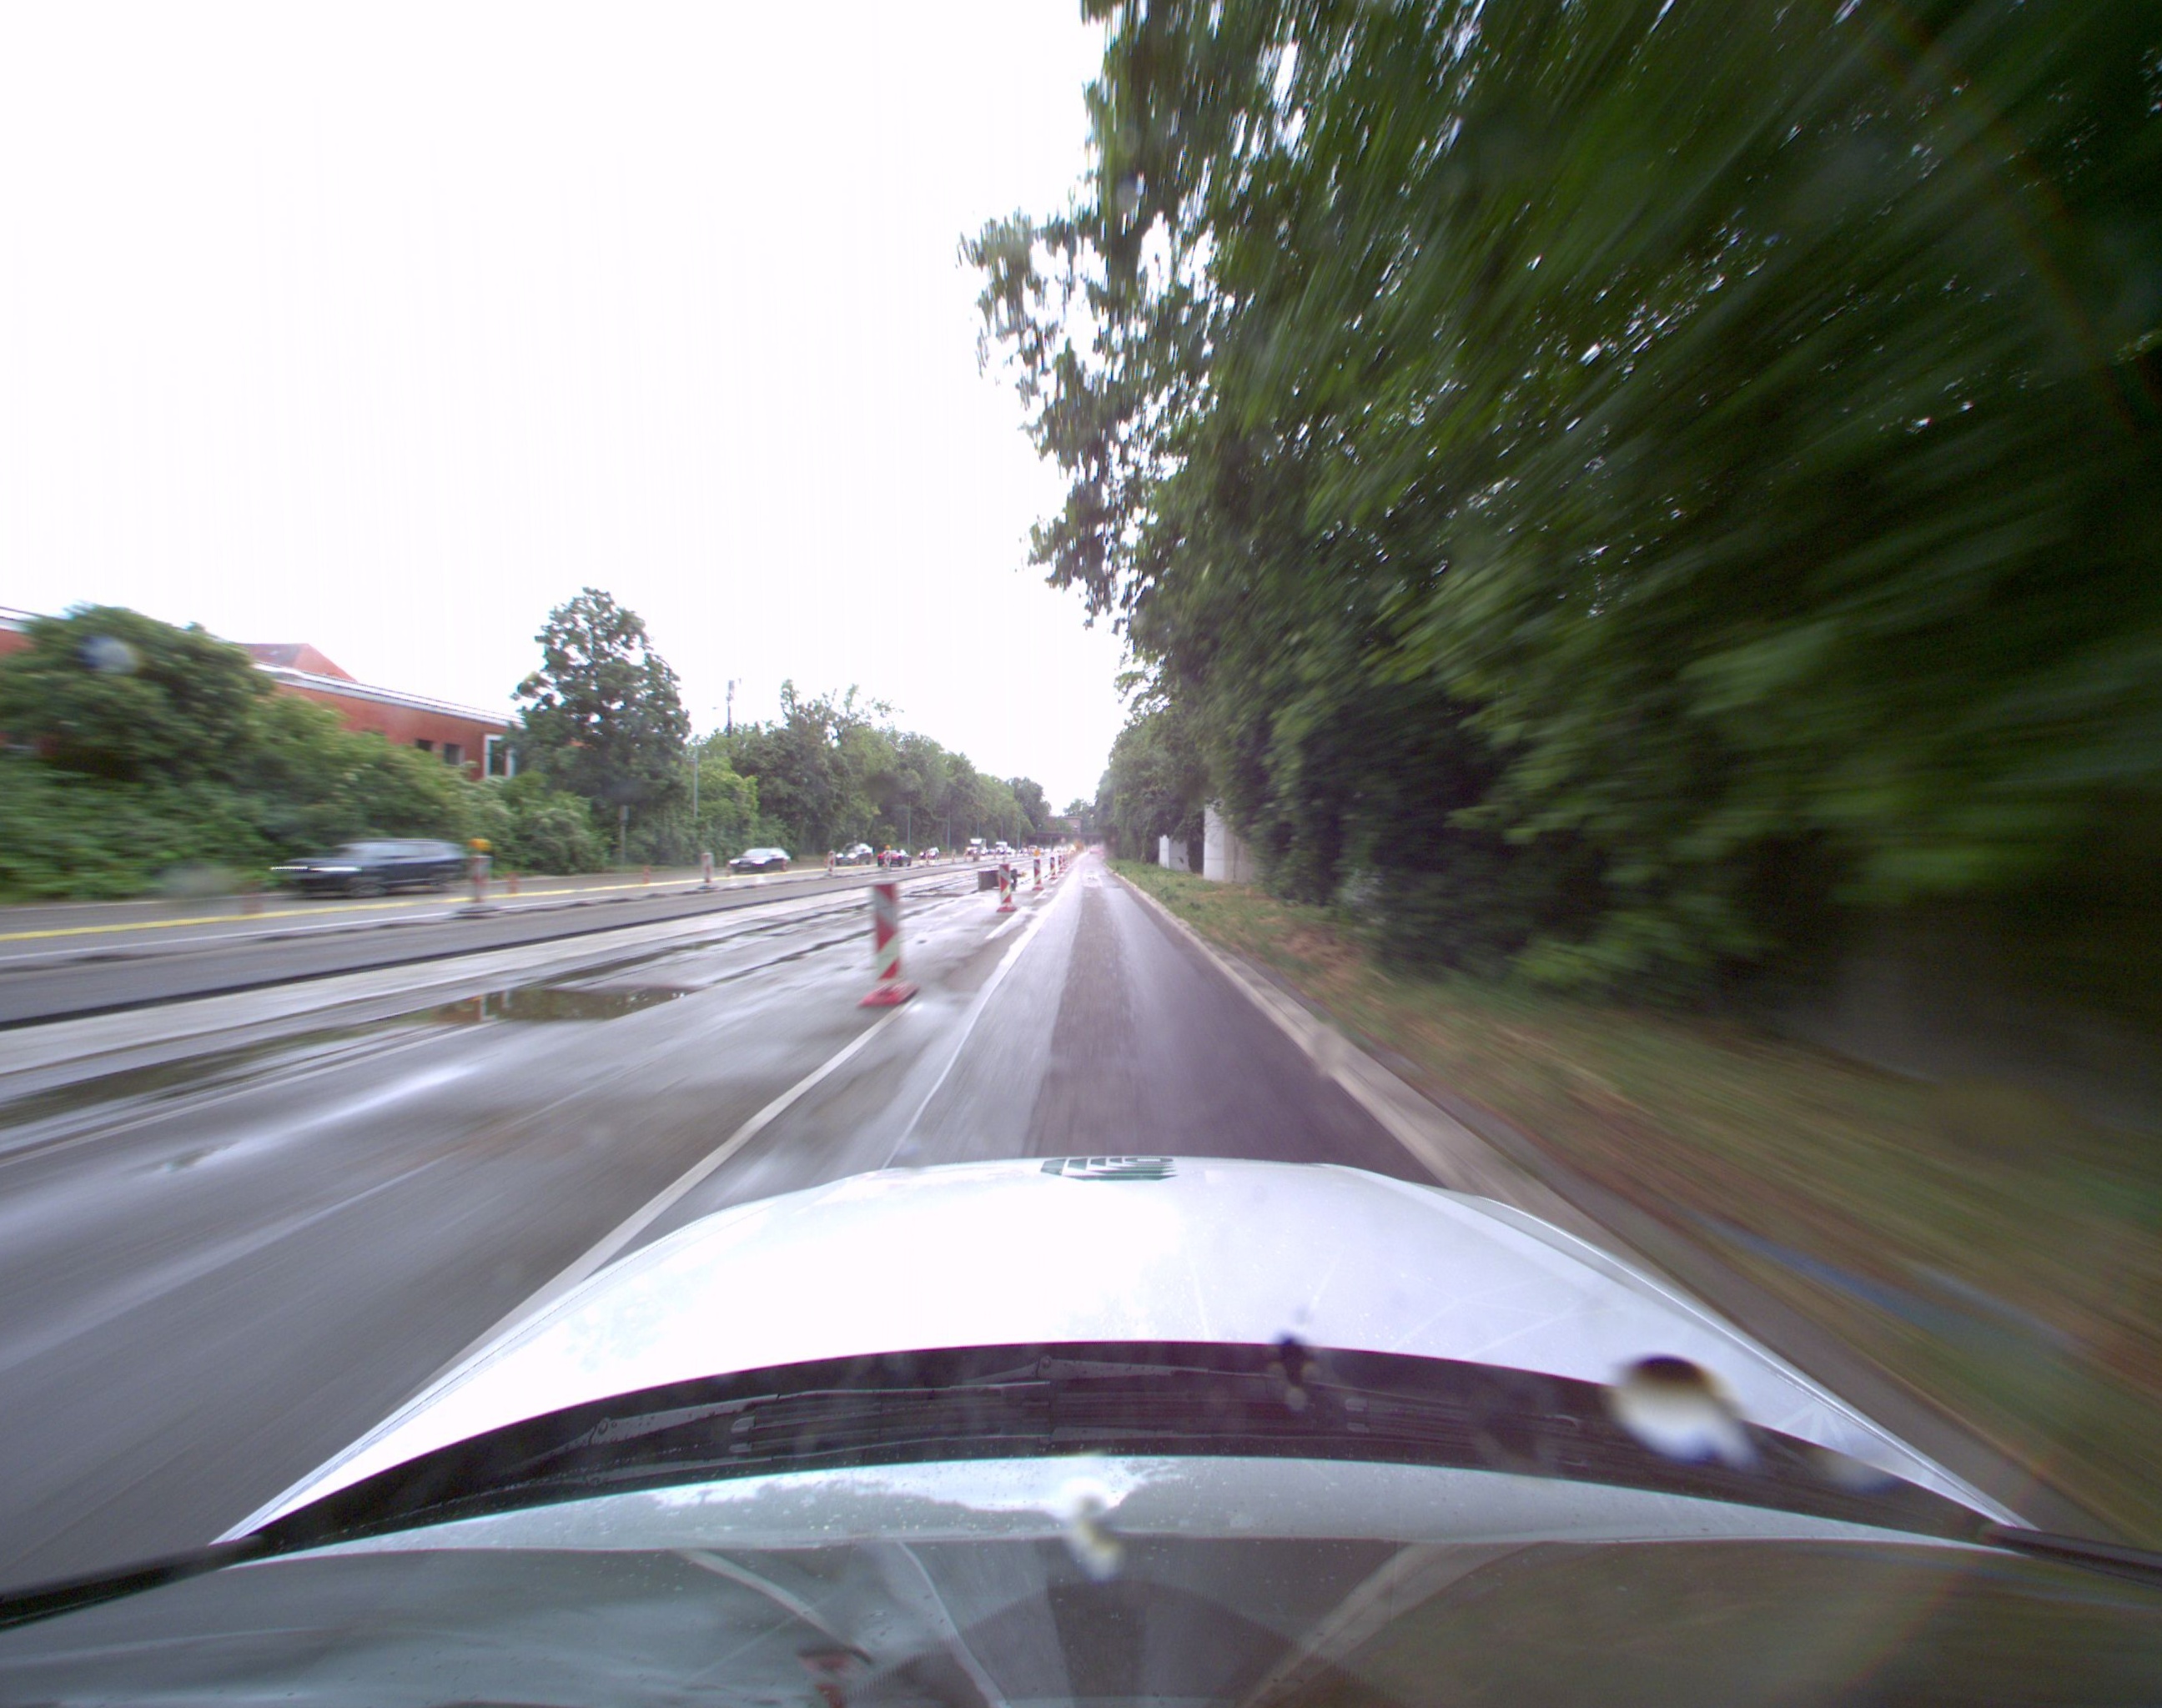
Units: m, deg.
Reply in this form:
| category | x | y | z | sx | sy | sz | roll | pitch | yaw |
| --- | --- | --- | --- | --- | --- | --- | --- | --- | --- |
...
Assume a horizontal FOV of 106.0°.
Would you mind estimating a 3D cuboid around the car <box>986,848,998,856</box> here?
| category | x | y | z | sx | sy | sz | roll | pitch | yaw |
| --- | --- | --- | --- | --- | --- | --- | --- | --- | --- |
| car | -17.676 | -0.347 | 161.479 | 1.663 | 1.485 | 4.322 | 1 | 0 | 2 |

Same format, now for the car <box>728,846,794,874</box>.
| category | x | y | z | sx | sy | sz | roll | pitch | yaw |
| --- | --- | --- | --- | --- | --- | --- | --- | --- | --- |
| car | -17.763 | 0.308 | 45.506 | 1.754 | 1.483 | 4.899 | 0 | 0 | 0 |

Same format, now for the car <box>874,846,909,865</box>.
| category | x | y | z | sx | sy | sz | roll | pitch | yaw |
| --- | --- | --- | --- | --- | --- | --- | --- | --- | --- |
| car | -14.530 | 0.107 | 62.740 | 1.601 | 1.404 | 4.042 | 1 | 0 | 2 |

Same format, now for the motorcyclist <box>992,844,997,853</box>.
| category | x | y | z | sx | sy | sz | roll | pitch | yaw |
| --- | --- | --- | --- | --- | --- | --- | --- | --- | --- |
| motorcyclist | -15.733 | -0.956 | 147.824 | 0.825 | 1.564 | 0.926 | 2 | 0 | 0 |

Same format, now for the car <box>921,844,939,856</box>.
| category | x | y | z | sx | sy | sz | roll | pitch | yaw |
| --- | --- | --- | --- | --- | --- | --- | --- | --- | --- |
| car | -17.657 | -0.430 | 95.512 | 1.444 | 1.332 | 3.858 | 0 | 0 | -2 |

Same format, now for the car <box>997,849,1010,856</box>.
| category | x | y | z | sx | sy | sz | roll | pitch | yaw |
| --- | --- | --- | --- | --- | --- | --- | --- | --- | --- |
| car | -15.500 | -0.315 | 162.441 | 1.952 | 1.531 | 4.438 | 1 | 0 | 2 |

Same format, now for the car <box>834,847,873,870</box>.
| category | x | y | z | sx | sy | sz | roll | pitch | yaw |
| --- | --- | --- | --- | --- | --- | --- | --- | --- | --- |
| car | -17.691 | 0.344 | 63.508 | 1.729 | 1.722 | 4.493 | 1 | 0 | 0 |

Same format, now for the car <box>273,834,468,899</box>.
| category | x | y | z | sx | sy | sz | roll | pitch | yaw |
| --- | --- | --- | --- | --- | --- | --- | --- | --- | --- |
| car | -20.552 | 0.319 | 23.871 | 1.647 | 1.685 | 4.534 | 1 | 0 | 1 |

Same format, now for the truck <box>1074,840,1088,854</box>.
| category | x | y | z | sx | sy | sz | roll | pitch | yaw |
| --- | --- | --- | --- | --- | --- | --- | --- | --- | --- |
| truck | 0.021 | -1.818 | 211.543 | 3.248 | 3.497 | 13.871 | 1 | 0 | 1 |

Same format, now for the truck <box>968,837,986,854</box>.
| category | x | y | z | sx | sy | sz | roll | pitch | yaw |
| --- | --- | --- | --- | --- | --- | --- | --- | --- | --- |
| truck | -18.650 | -1.472 | 146.429 | 2.237 | 2.940 | 6.938 | 1 | 0 | 2 |

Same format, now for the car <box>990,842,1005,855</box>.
| category | x | y | z | sx | sy | sz | roll | pitch | yaw |
| --- | --- | --- | --- | --- | --- | --- | --- | --- | --- |
| car | -17.382 | -1.071 | 169.237 | 2.092 | 2.579 | 6.856 | 1 | 0 | 2 |

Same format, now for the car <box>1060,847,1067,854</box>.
| category | x | y | z | sx | sy | sz | roll | pitch | yaw |
| --- | --- | --- | --- | --- | --- | --- | --- | --- | --- |
| car | -4.986 | -0.937 | 233.715 | 1.663 | 1.808 | 4.322 | 1 | 2 | 2 |

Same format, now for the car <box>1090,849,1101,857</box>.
| category | x | y | z | sx | sy | sz | roll | pitch | yaw |
| --- | --- | --- | --- | --- | --- | --- | --- | --- | --- |
| car | 2.543 | -0.230 | 141.102 | 1.691 | 1.336 | 3.492 | -2 | 0 | 2 |
